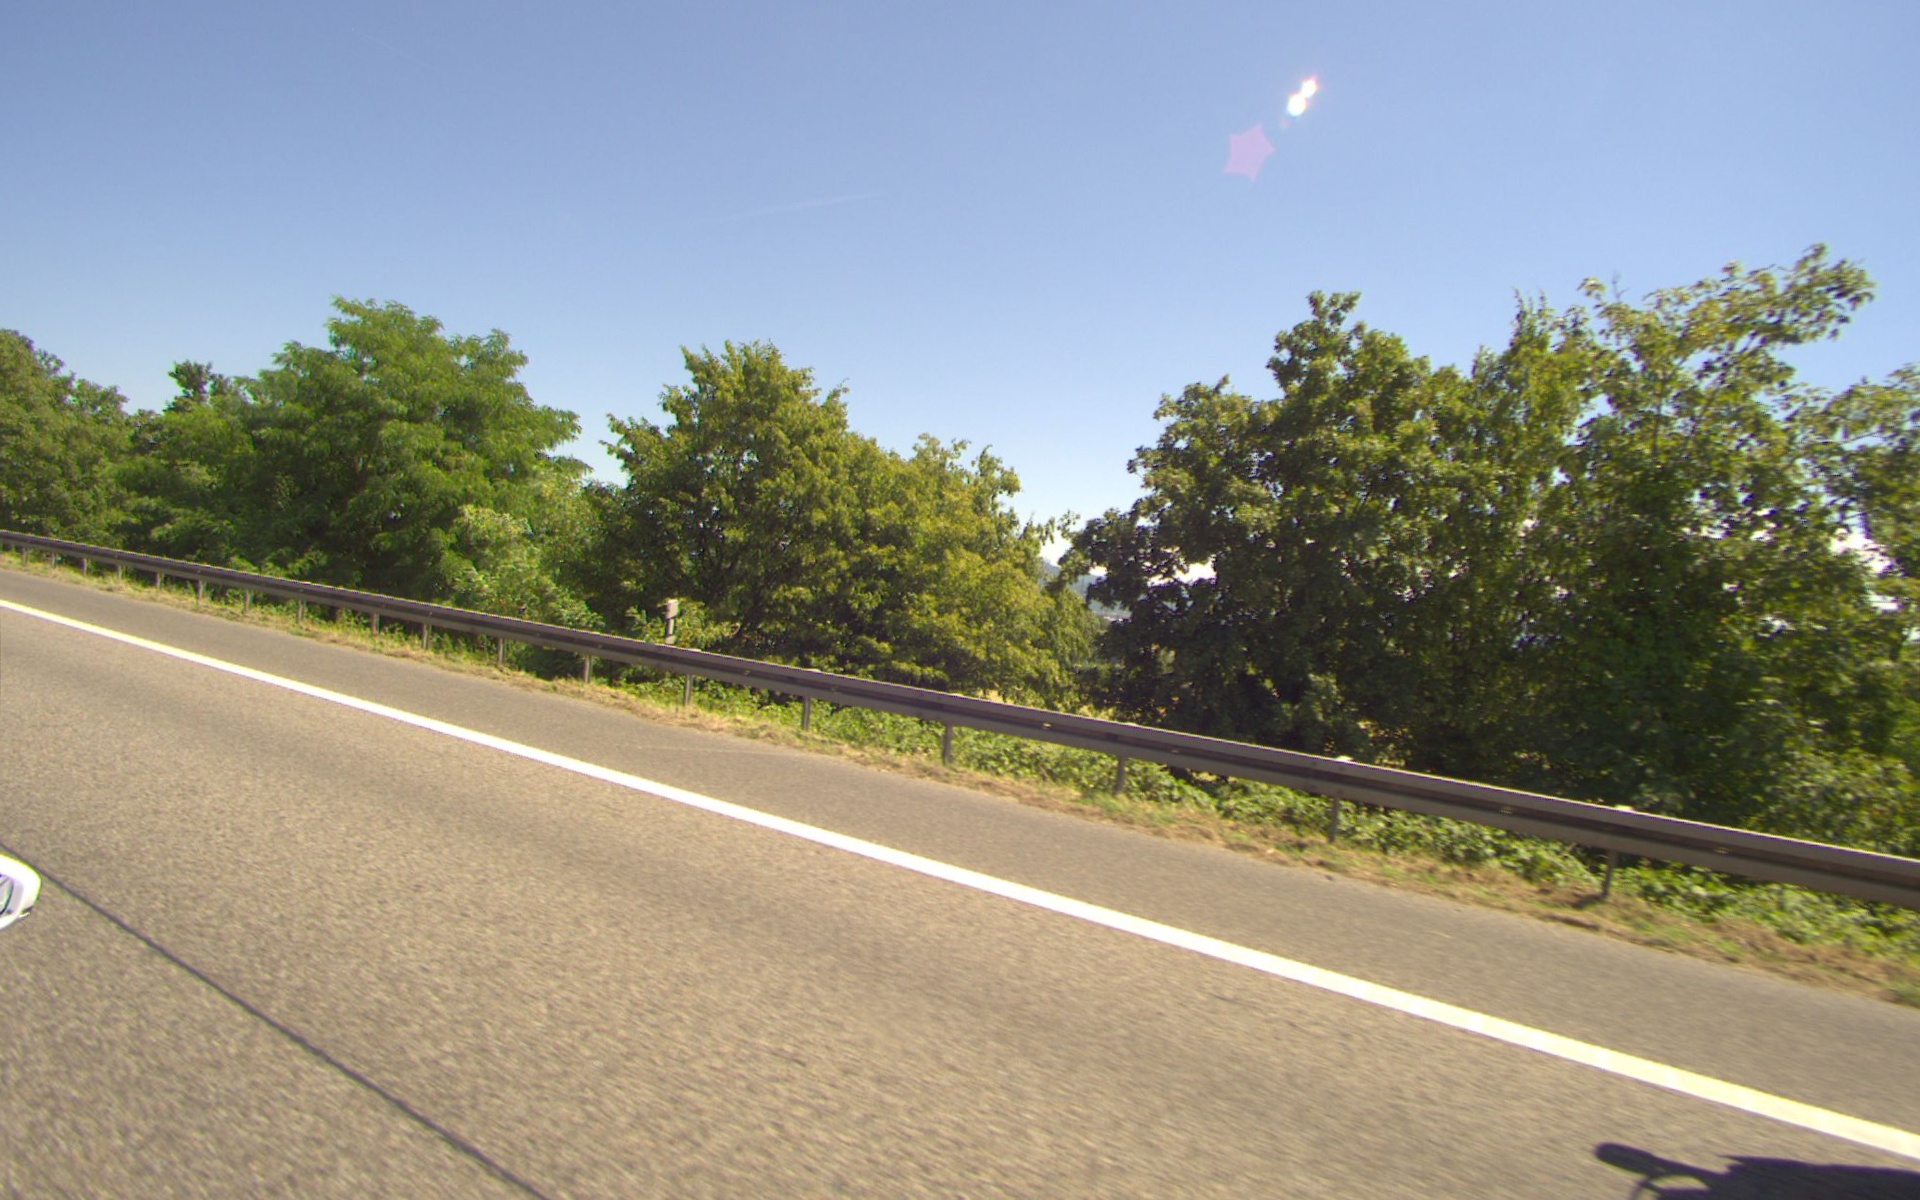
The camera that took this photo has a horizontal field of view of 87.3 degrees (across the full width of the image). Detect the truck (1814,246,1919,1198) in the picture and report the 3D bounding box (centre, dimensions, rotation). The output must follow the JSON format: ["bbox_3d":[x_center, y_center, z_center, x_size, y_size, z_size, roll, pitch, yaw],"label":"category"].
[{"bbox_3d":[6.129,-0.255,1.225,6.856,4.948,3.238,7,0,32],"label":"truck"}]
